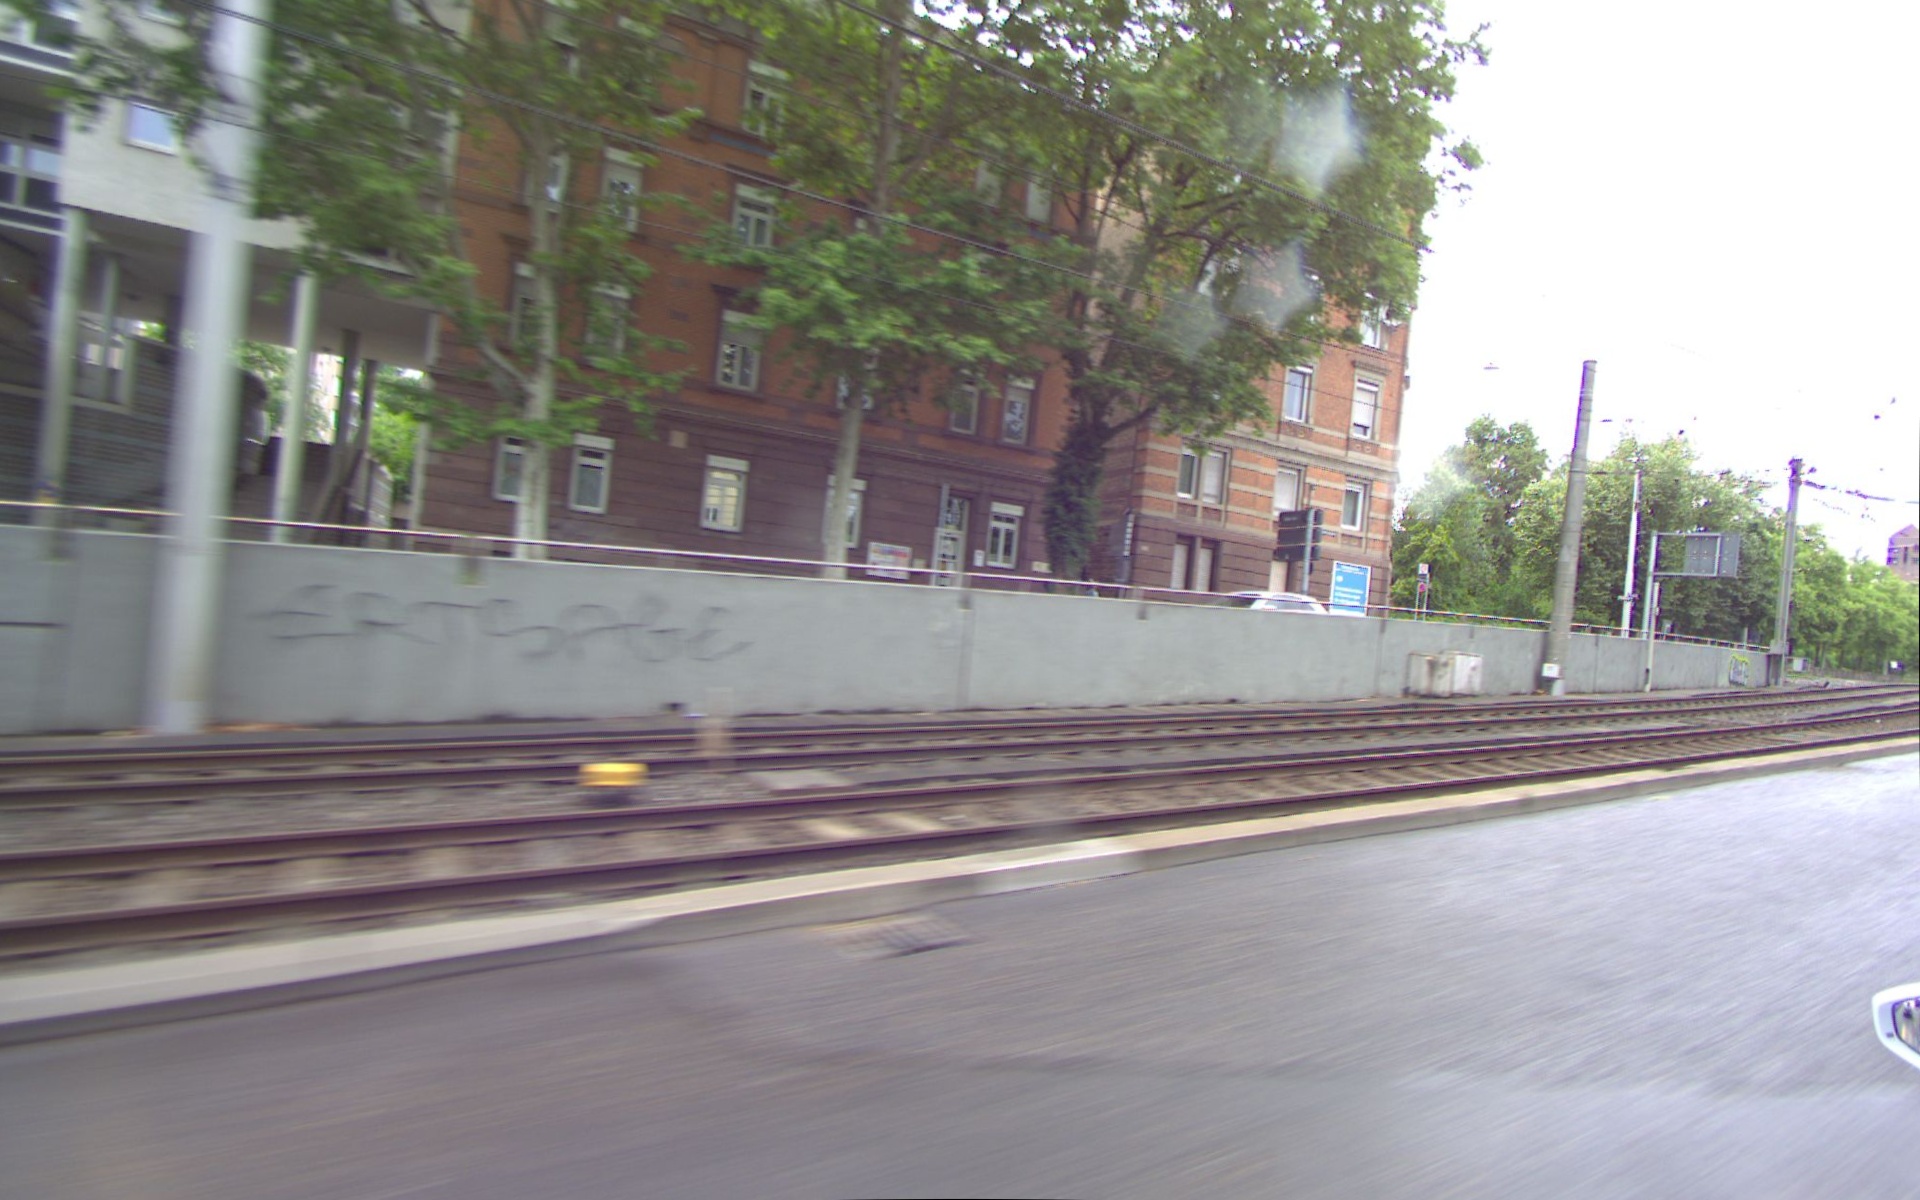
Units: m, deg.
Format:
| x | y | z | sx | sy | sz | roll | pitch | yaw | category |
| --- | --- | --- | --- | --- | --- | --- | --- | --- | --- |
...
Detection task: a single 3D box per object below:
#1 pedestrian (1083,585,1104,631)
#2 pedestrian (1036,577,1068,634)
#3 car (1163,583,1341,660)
| x | y | z | sx | sy | sz | roll | pitch | yaw | category |
| --- | --- | --- | --- | --- | --- | --- | --- | --- | --- |
| 3.957 | 0.231 | 29.724 | 0.499 | 1.351 | 0.332 | 2 | -1 | -34 | pedestrian |
| 2.735 | 0.160 | 29.872 | 0.711 | 1.646 | 0.592 | 2 | -1 | -20 | pedestrian |
| 7.418 | 0.549 | 25.401 | 4.309 | 1.633 | 1.785 | 3 | 2 | -31 | car |
